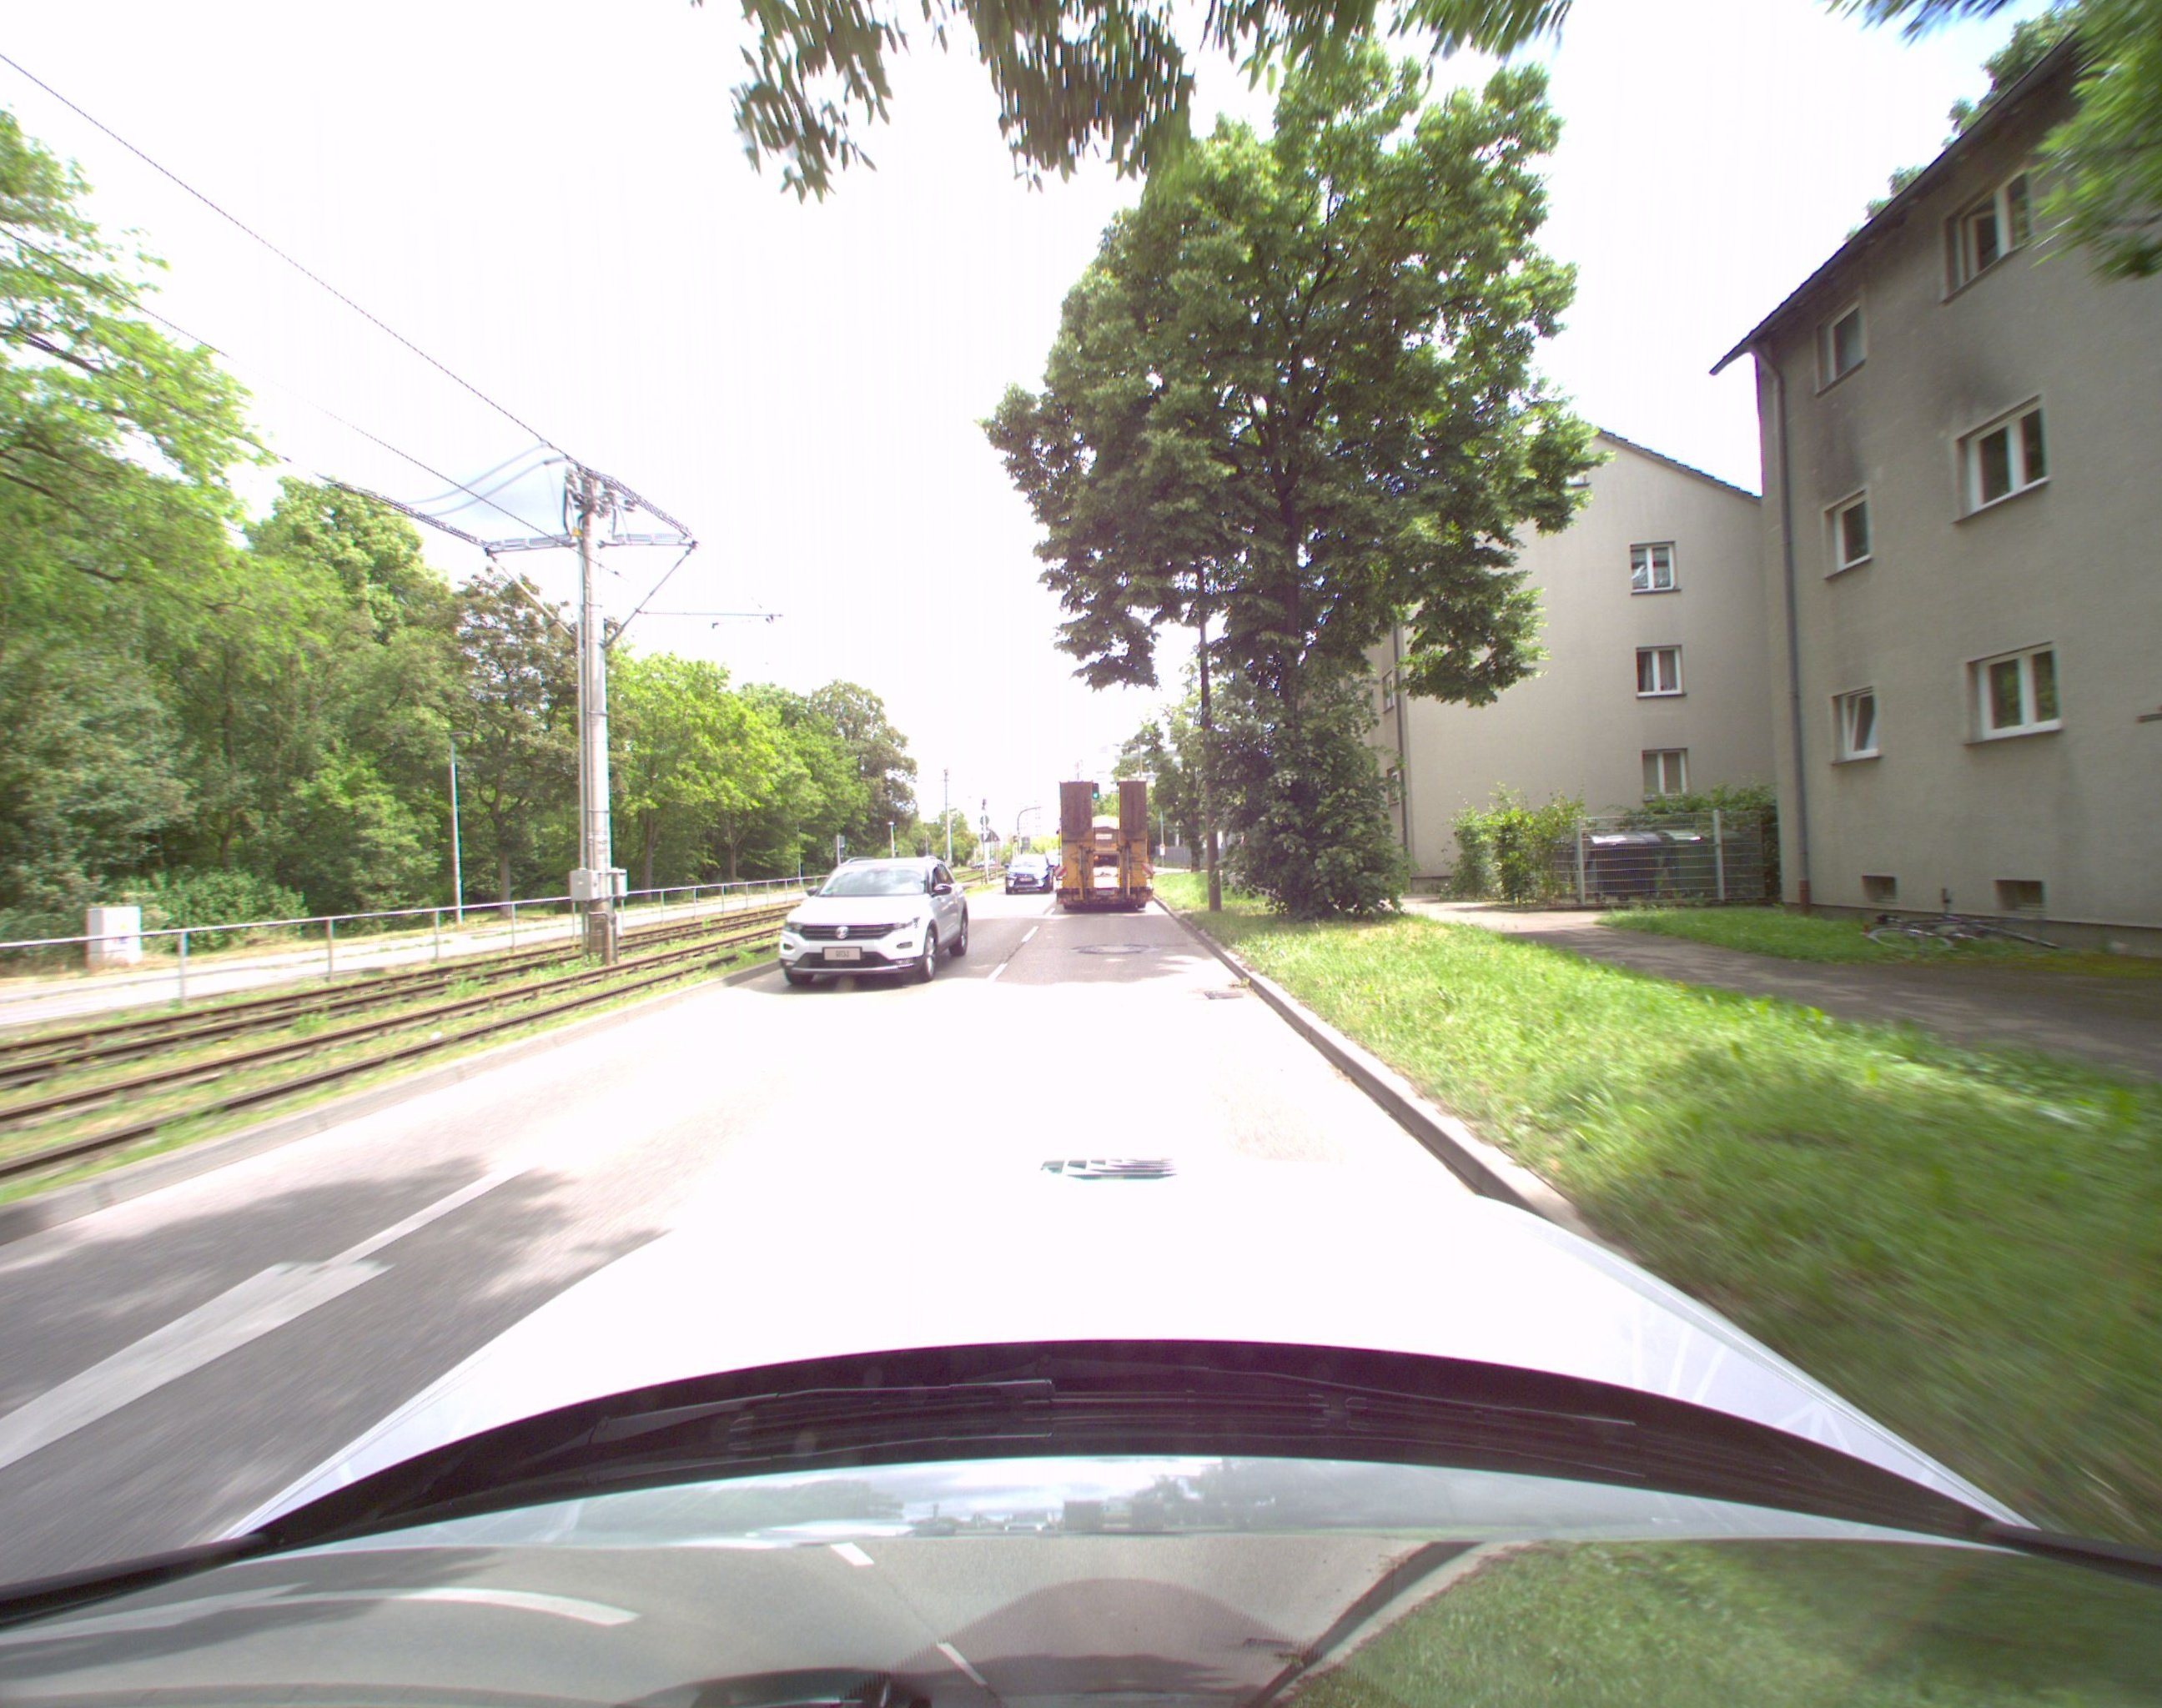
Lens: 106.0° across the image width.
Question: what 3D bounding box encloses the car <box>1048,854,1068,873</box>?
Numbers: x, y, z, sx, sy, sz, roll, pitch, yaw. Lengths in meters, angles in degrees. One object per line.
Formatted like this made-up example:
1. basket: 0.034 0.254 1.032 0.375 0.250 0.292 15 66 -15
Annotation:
1. car: -2.062 0.890 74.408 1.702 1.676 4.227 -1 -1 0

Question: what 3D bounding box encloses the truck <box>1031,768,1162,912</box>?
1. truck: 0.414 -0.260 27.291 3.305 3.651 12.558 -1 -1 0

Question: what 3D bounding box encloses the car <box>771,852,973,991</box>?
1. car: -2.645 0.768 11.287 1.710 1.544 4.000 -1 0 1

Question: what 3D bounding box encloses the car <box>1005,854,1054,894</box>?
1. car: -2.101 0.787 34.239 1.707 1.566 4.167 -1 0 1

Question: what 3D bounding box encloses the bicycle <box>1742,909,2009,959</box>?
1. bicycle: 9.127 0.917 9.448 2.190 0.508 0.675 -1 -1 12
